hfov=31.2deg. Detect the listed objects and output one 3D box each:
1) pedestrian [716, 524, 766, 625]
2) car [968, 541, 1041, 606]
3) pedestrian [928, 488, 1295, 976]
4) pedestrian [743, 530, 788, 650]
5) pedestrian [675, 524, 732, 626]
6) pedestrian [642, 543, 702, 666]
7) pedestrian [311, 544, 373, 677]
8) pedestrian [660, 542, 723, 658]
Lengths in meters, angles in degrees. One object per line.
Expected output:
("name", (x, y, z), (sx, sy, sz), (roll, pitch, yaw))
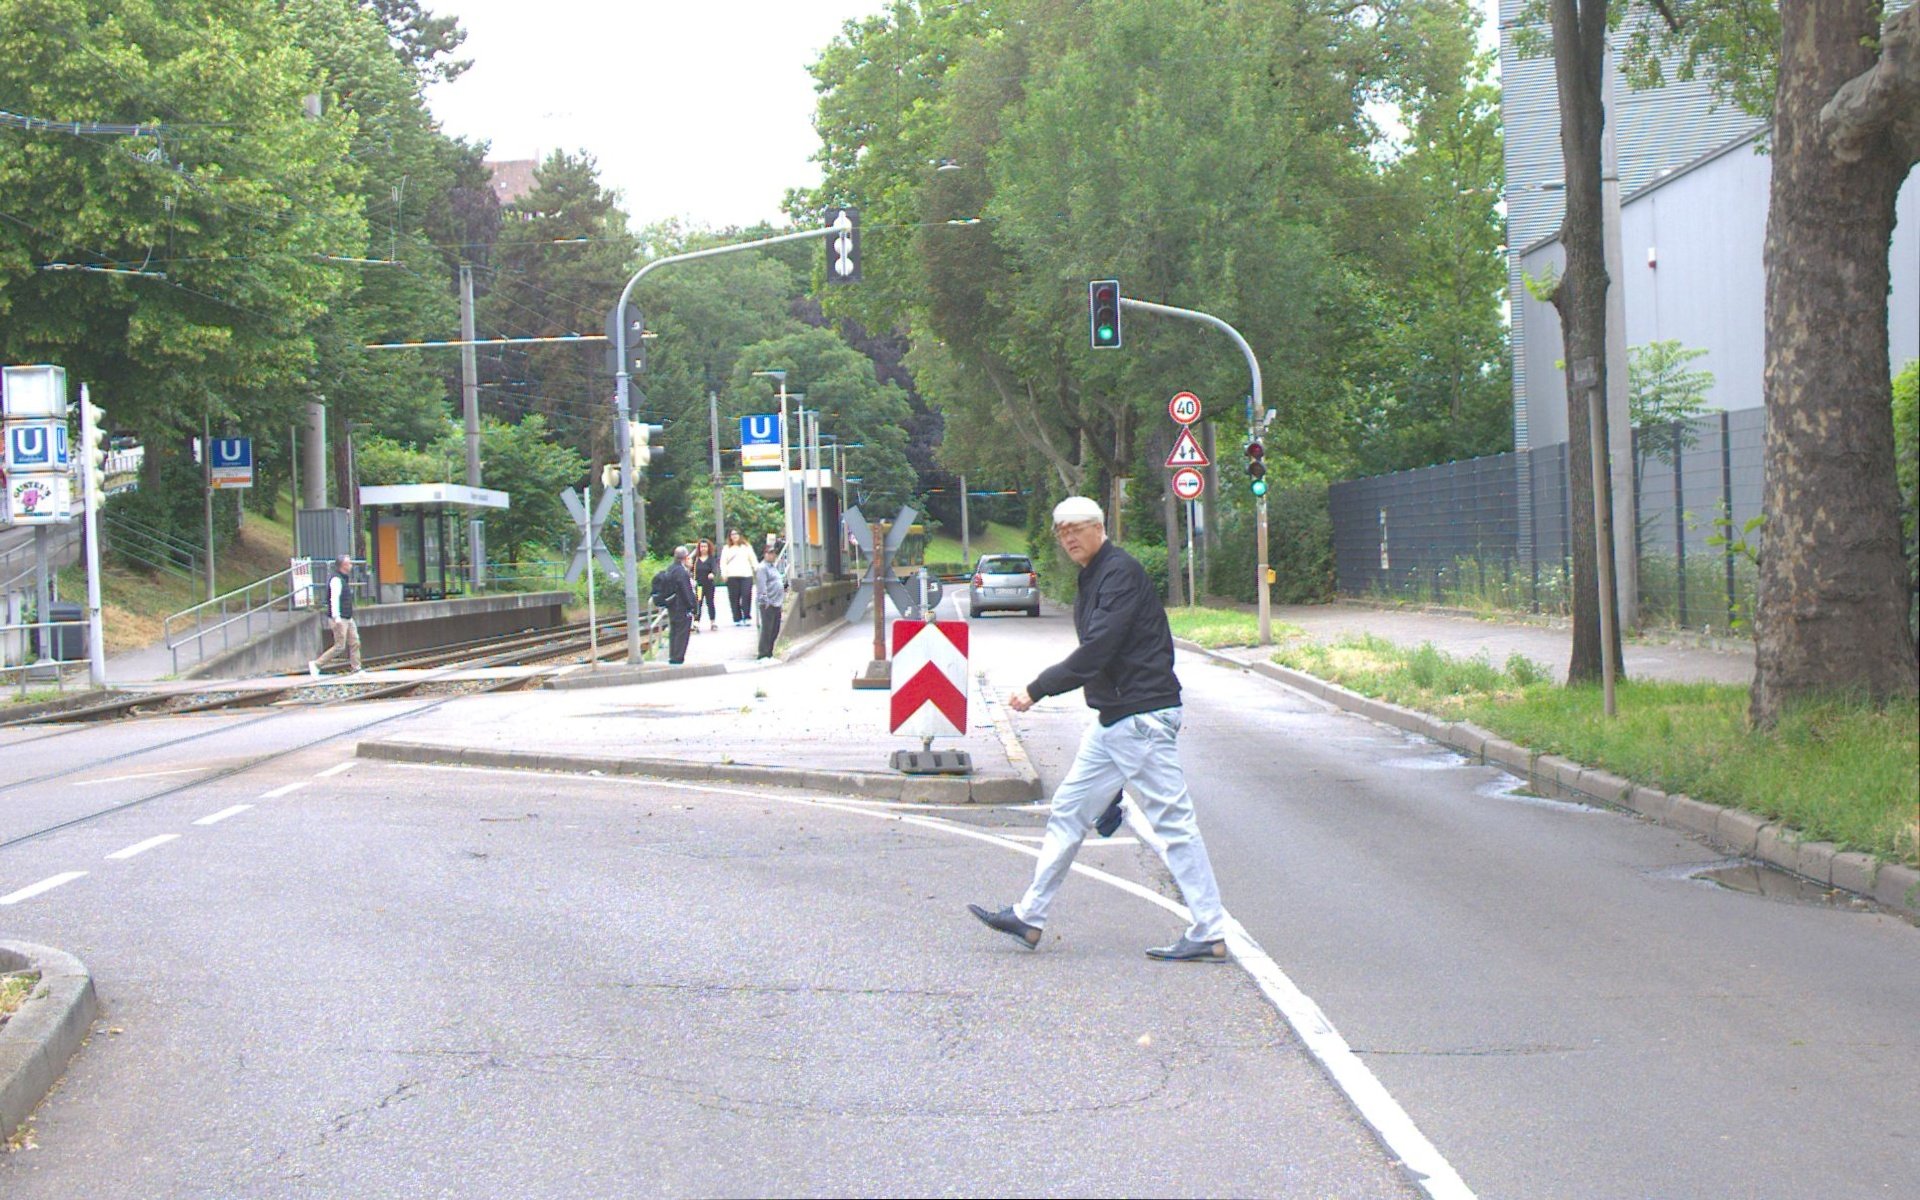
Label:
("pedestrian", (-3.632, -0.418, 56.969), (0.735, 1.659, 0.682), (1, 0, -11))
("car", (1.121, -0.672, 88.222), (1.743, 1.593, 4.000), (1, 0, -1))
("pedestrian", (0.562, 0.471, 12.946), (1.117, 1.754, 0.813), (0, 1, -24))
("pedestrian", (-2.868, -0.157, 50.787), (0.550, 1.752, 0.737), (1, 0, 4))
("pedestrian", (-4.198, -0.410, 56.214), (0.735, 1.659, 0.682), (1, 0, -22))
("pedestrian", (-3.940, 0.063, 47.028), (0.735, 1.659, 0.682), (1, 0, 1))
("pedestrian", (-8.558, 0.139, 47.580), (0.802, 1.815, 0.671), (1, 0, -11))
("pedestrian", (-3.883, -0.009, 49.807), (0.680, 1.659, 0.737), (1, 0, 15))
